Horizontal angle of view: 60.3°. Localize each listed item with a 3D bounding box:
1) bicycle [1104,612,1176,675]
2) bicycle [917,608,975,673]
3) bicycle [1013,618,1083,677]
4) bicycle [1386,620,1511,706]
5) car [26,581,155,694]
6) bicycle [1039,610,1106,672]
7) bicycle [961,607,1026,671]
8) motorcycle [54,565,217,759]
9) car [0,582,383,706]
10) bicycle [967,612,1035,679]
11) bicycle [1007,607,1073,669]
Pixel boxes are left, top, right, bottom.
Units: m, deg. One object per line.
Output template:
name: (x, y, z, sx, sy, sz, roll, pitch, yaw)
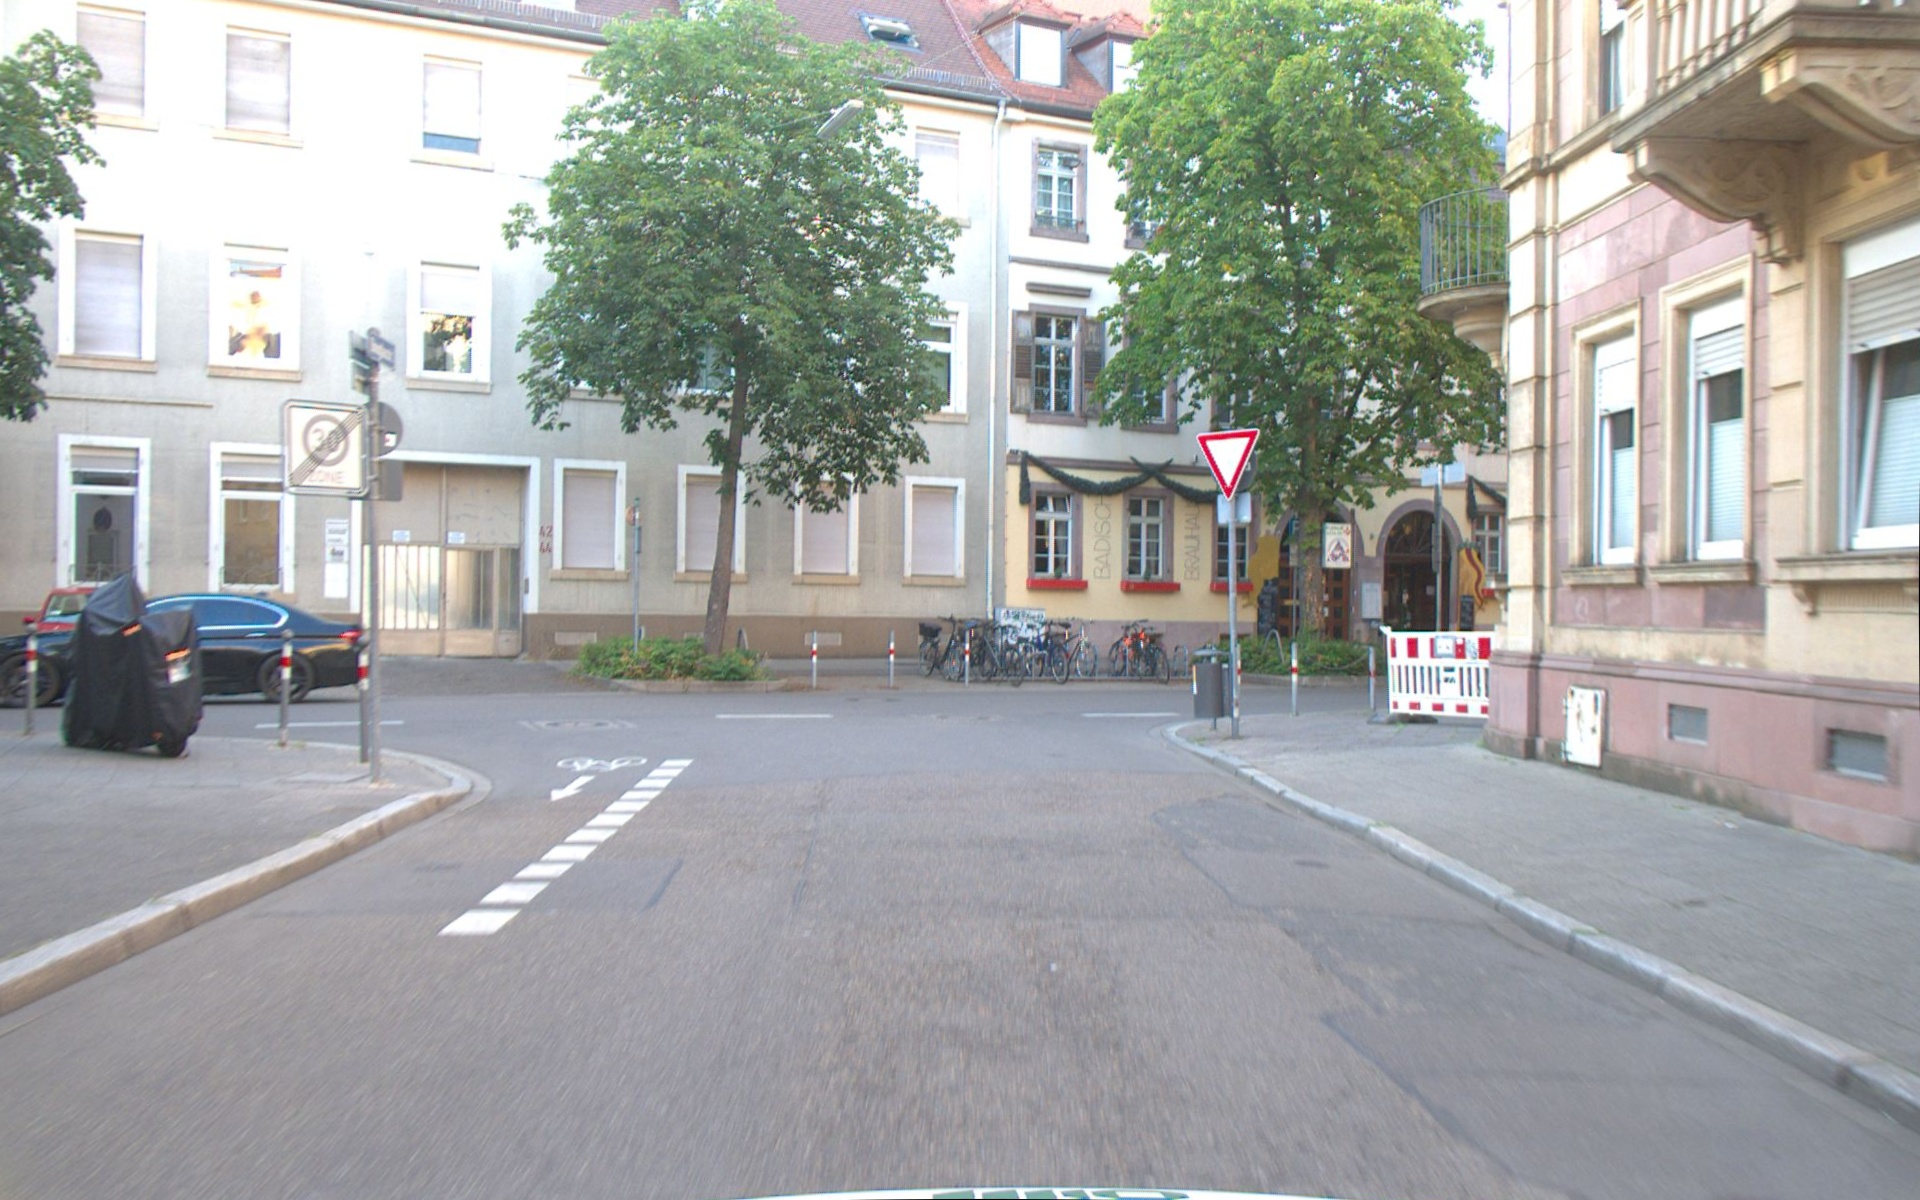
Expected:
bicycle: (3.504, 0.830, 32.314, 0.414, 1.165, 2.026, 1, 0, -24)
bicycle: (-0.281, 0.745, 31.463, 0.438, 1.165, 2.030, 1, 0, -20)
bicycle: (1.636, 0.878, 31.121, 0.414, 1.021, 2.026, 1, 0, -24)
bicycle: (6.667, 0.845, 22.542, 1.840, 1.108, 0.362, -1, -1, -25)
car: (-12.888, 0.502, 24.656, 1.541, 1.501, 3.638, 0, 1, -26)
bicycle: (2.216, 0.792, 32.814, 0.414, 1.165, 2.026, 1, 0, -24)
bicycle: (0.634, 0.729, 31.882, 0.414, 1.165, 2.026, 1, 0, -24)
motorcycle: (-7.259, 0.494, 14.508, 0.664, 1.582, 2.127, 0, 0, -44)
car: (-10.023, 0.529, 21.445, 4.599, 1.475, 1.752, 0, 0, -28)
bicycle: (0.731, 0.812, 30.311, 0.439, 1.165, 2.028, 1, 0, -23)
bicycle: (1.560, 0.727, 32.590, 0.414, 1.165, 2.026, 1, 0, -24)
